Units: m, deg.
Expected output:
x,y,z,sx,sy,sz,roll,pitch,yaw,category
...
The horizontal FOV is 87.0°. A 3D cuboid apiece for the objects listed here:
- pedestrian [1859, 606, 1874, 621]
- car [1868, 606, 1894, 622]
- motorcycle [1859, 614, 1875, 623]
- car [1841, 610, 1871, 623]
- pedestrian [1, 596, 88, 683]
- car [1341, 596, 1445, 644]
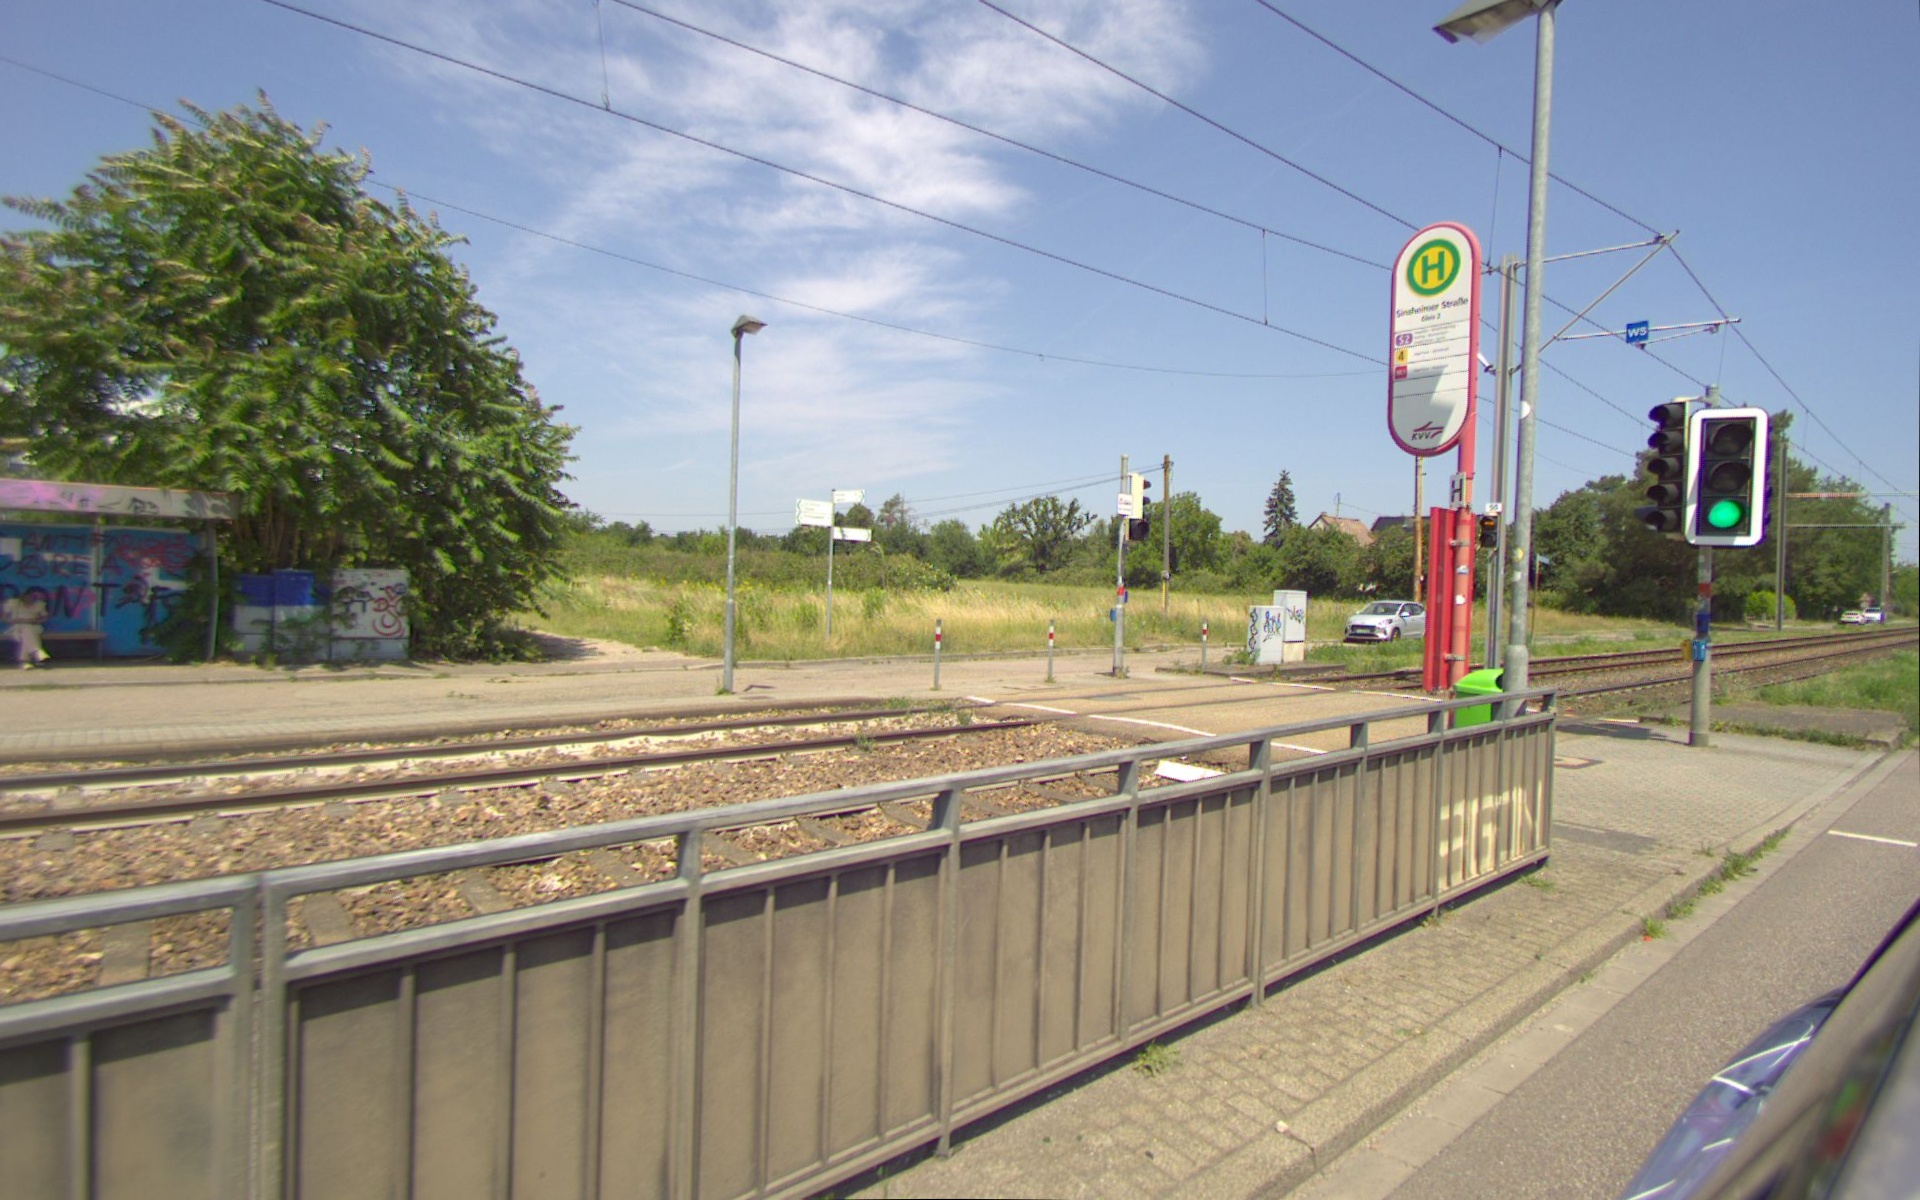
x,y,z,sx,sy,sz,roll,pitch,yaw,category
103.303,1.513,115.317,0.863,1.684,1.172,1,0,-36,pedestrian
111.676,1.720,122.697,4.508,1.849,1.861,0,0,-42,car
103.408,2.087,115.329,2.739,0.919,0.859,0,0,-38,motorcycle
97.165,1.761,109.740,3.931,1.401,1.921,0,0,-42,car
-12.239,0.512,13.555,0.704,1.100,0.812,1,0,-32,pedestrian
14.764,0.651,34.434,3.931,1.507,1.716,0,0,-41,car
